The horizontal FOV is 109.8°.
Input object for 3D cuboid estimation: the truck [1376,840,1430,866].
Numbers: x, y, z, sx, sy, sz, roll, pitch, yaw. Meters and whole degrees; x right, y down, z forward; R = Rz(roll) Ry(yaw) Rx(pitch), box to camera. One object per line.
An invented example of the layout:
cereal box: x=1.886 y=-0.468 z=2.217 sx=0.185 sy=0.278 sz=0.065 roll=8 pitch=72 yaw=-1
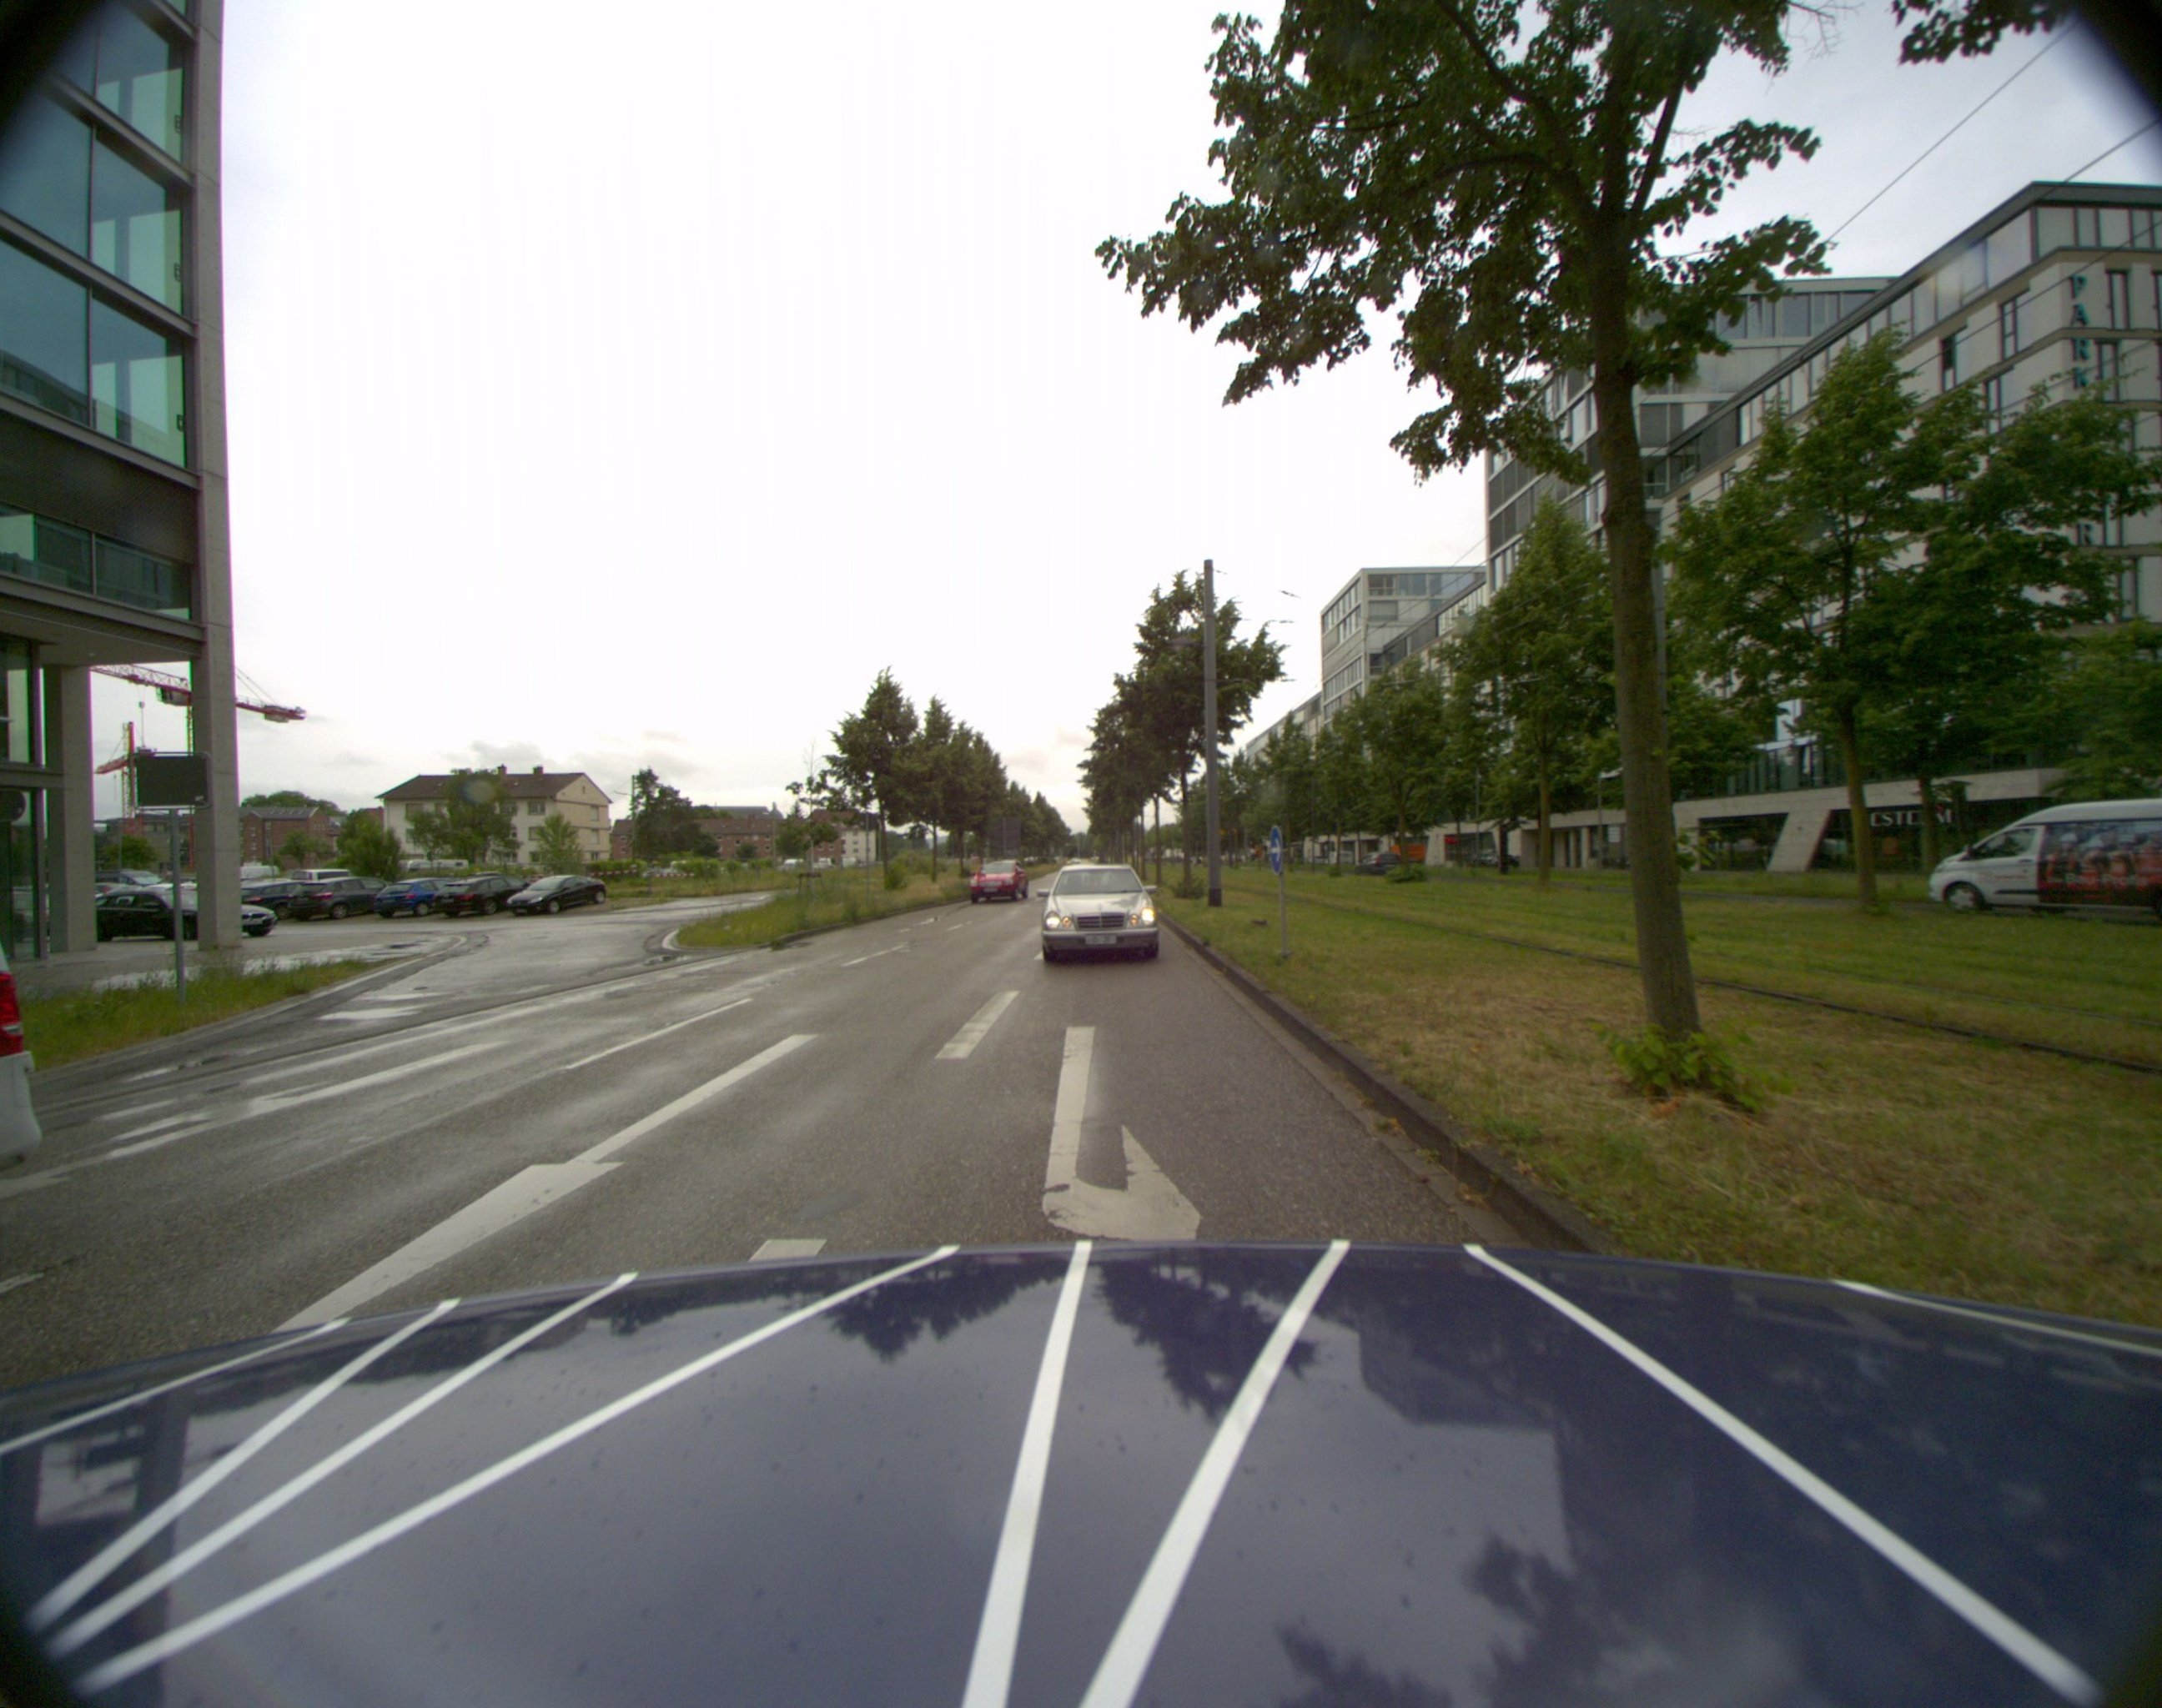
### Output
truck: x=30.246 y=-0.085 z=71.699 sx=2.432 sy=2.278 sz=6.309 roll=-1 pitch=0 yaw=1

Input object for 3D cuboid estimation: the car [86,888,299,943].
car: x=-25.798 y=1.760 z=22.152 sx=4.227 sy=1.429 sz=1.982 roll=-2 pitch=-2 yaw=6

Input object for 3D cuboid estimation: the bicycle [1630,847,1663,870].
bicycle: x=38.637 y=0.323 z=51.927 sx=1.707 sy=1.529 sz=0.681 roll=-2 pitch=1 yaw=0

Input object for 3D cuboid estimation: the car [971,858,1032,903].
car: x=-3.111 y=1.013 z=30.462 sx=1.799 sy=1.603 sz=4.246 roll=-2 pitch=0 yaw=2

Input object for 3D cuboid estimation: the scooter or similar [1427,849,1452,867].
scooter or similar: x=36.851 y=0.411 z=78.087 sx=2.130 sy=1.814 sz=0.885 roll=-2 pitch=1 yaw=-3

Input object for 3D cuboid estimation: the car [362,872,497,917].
car: x=-26.998 y=1.632 z=31.696 sx=1.859 sy=1.447 sz=4.000 roll=-2 pitch=3 yaw=6

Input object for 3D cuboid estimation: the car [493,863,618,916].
car: x=-21.234 y=1.381 z=30.931 sx=1.858 sy=1.573 sz=3.999 roll=-2 pitch=5 yaw=8

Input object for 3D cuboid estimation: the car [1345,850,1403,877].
car: x=17.915 y=0.549 z=46.674 sx=1.867 sy=1.515 sz=4.479 roll=-1 pitch=0 yaw=1

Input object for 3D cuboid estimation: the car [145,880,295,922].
car: x=-37.852 y=2.027 z=33.577 sx=1.859 sy=1.592 sz=4.002 roll=-2 pitch=0 yaw=6

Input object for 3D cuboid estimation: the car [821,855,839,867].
car: x=-51.818 y=1.433 z=156.720 sx=2.278 sy=2.207 sz=4.758 roll=-2 pitch=0 yaw=-3

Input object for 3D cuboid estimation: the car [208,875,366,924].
car: x=-32.890 y=1.836 z=31.669 sx=1.789 sy=1.467 sz=4.229 roll=-2 pitch=4 yaw=6

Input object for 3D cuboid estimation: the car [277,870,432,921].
car: x=-30.228 y=1.669 z=31.827 sx=1.859 sy=1.593 sz=4.415 roll=-2 pitch=4 yaw=6

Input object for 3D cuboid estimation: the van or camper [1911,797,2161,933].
van or camper: x=19.984 y=0.172 z=14.748 sx=1.914 sy=2.396 sz=5.402 roll=-1 pitch=0 yaw=1

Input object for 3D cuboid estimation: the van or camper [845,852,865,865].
van or camper: x=-45.245 y=0.878 z=152.377 sx=2.208 sy=2.294 sz=6.147 roll=-3 pitch=0 yaw=-2

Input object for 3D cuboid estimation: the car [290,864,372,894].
car: x=-54.252 y=1.757 z=55.102 sx=1.700 sy=1.994 sz=4.165 roll=-1 pitch=0 yaw=2

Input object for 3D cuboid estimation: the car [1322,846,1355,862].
car: x=29.916 y=-0.008 z=88.505 sx=1.998 sy=1.841 sz=5.164 roll=-1 pitch=0 yaw=0

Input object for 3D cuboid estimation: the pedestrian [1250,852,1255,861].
pedestrian: x=30.393 y=0.410 z=134.719 sx=0.712 sy=1.681 sz=0.793 roll=-2 pitch=0 yaw=3

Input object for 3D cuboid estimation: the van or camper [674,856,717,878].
van or camper: x=-49.777 y=1.607 z=98.326 sx=2.314 sy=2.673 sz=6.395 roll=-1 pitch=0 yaw=-2

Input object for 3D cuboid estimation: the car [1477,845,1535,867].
car: x=29.876 y=0.113 z=53.597 sx=1.859 sy=1.456 sz=3.988 roll=-1 pitch=0 yaw=0

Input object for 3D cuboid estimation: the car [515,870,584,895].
car: x=-38.574 y=2.023 z=55.241 sx=1.859 sy=1.592 sz=4.002 roll=-2 pitch=0 yaw=6

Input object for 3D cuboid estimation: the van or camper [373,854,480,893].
van or camper: x=-54.402 y=1.546 z=63.411 sx=2.914 sy=2.976 sz=6.777 roll=-1 pitch=0 yaw=1

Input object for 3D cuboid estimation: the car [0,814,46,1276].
car: x=-5.714 y=0.876 z=0.839 sx=1.972 sy=1.968 sz=5.091 roll=-2 pitch=1 yaw=2

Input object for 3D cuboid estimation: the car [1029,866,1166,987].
car: x=0.222 y=0.985 z=12.243 sx=1.738 sy=1.451 sz=4.607 roll=-2 pitch=0 yaw=0

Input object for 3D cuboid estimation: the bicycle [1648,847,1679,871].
bicycle: x=38.889 y=0.313 z=50.712 sx=1.571 sy=1.529 sz=0.607 roll=-2 pitch=1 yaw=0

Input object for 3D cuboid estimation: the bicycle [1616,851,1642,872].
bicycle: x=38.760 y=0.541 z=53.742 sx=1.435 sy=1.474 sz=0.546 roll=-2 pitch=1 yaw=0

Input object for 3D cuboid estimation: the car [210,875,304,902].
car: x=-54.125 y=2.238 z=50.009 sx=1.700 sy=1.572 sz=4.032 roll=-1 pitch=0 yaw=1

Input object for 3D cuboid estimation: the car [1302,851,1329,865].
car: x=29.911 y=0.452 z=97.004 sx=2.150 sy=1.702 sz=4.463 roll=-1 pitch=0 yaw=0

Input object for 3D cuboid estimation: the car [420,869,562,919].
car: x=-24.031 y=1.574 z=31.232 sx=1.859 sy=1.447 sz=4.555 roll=-2 pitch=5 yaw=6
